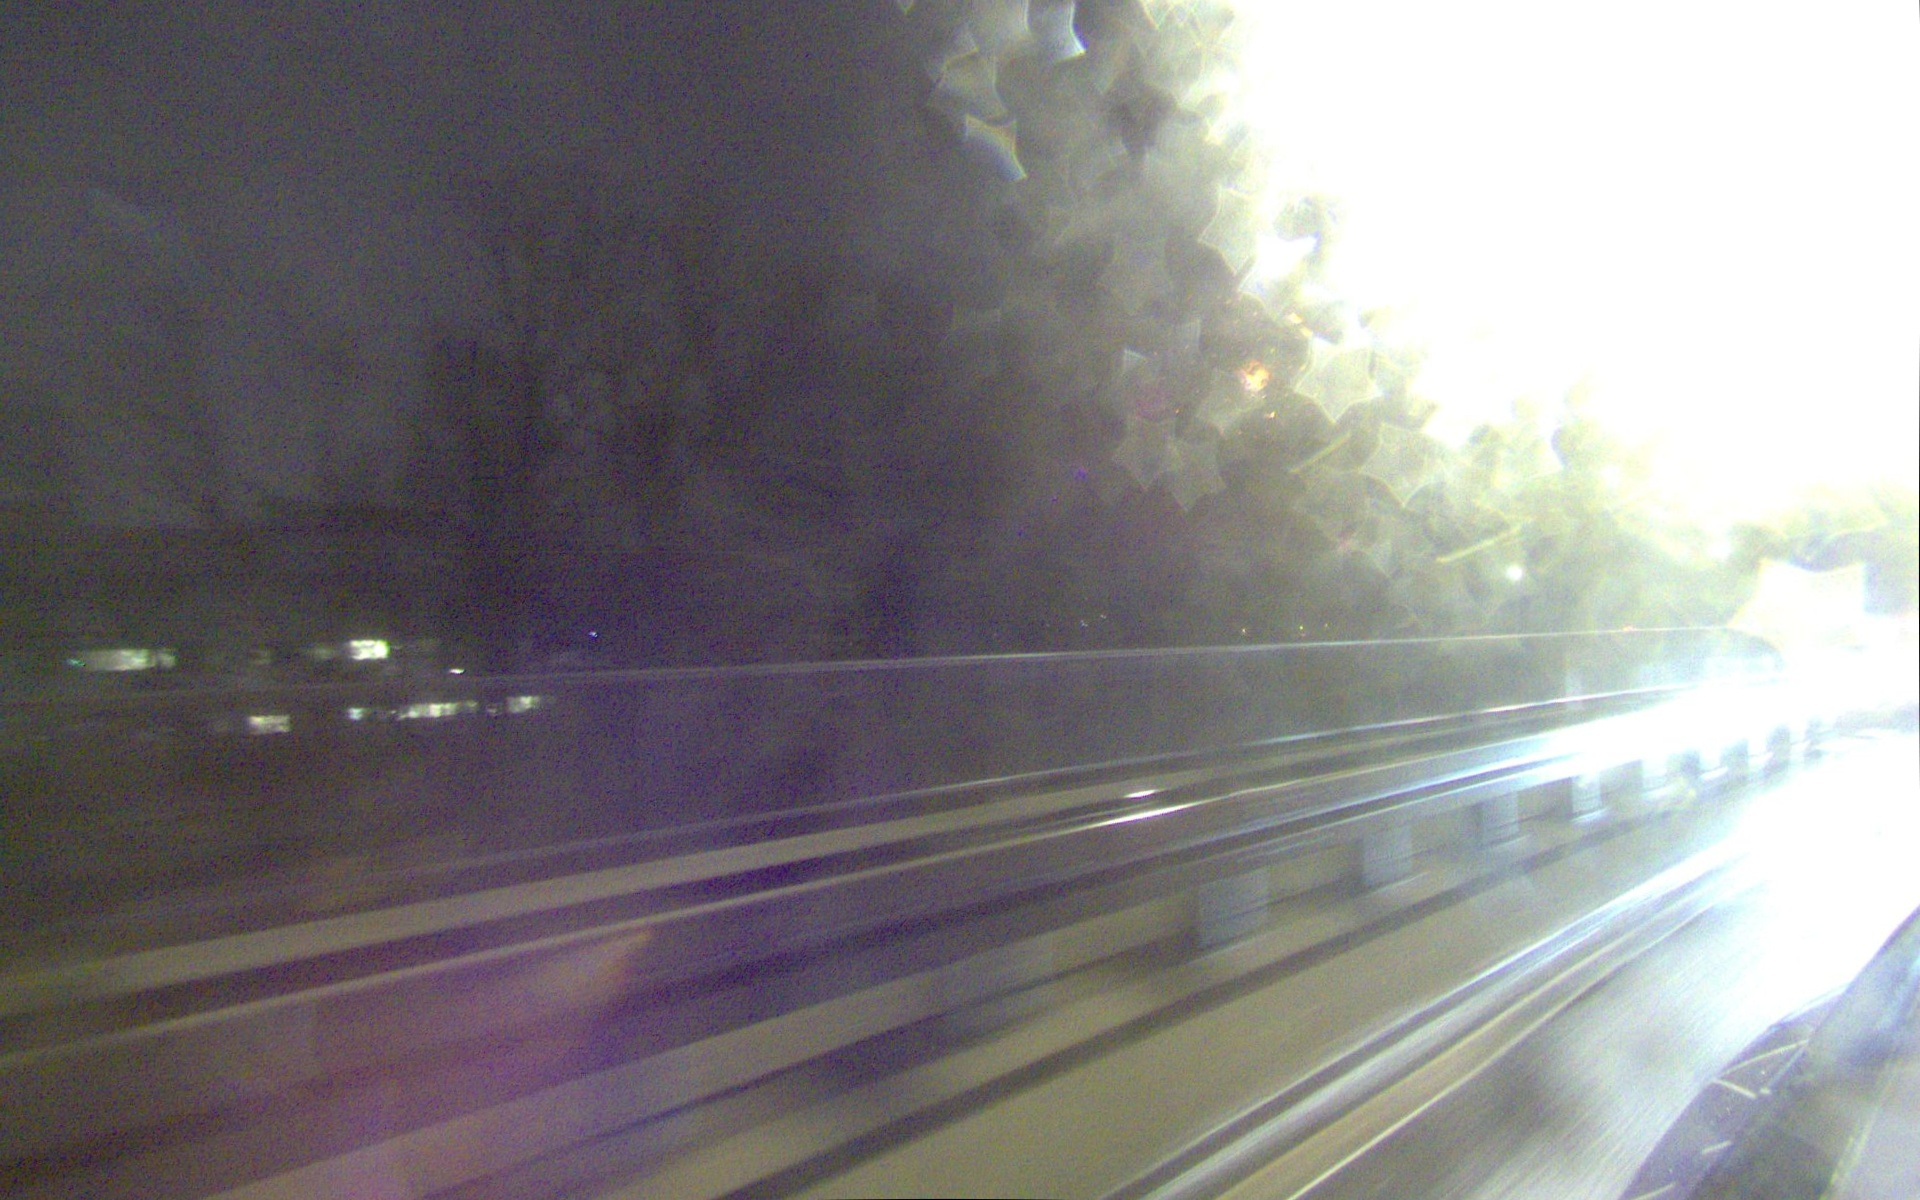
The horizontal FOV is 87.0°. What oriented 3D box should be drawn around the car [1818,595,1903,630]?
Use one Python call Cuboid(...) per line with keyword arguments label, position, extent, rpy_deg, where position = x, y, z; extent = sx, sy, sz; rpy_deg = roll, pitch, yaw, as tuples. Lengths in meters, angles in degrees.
Cuboid(label="car", position=(59.657, 0.857, 67.165), extent=(1.730, 2.040, 3.998), rpy_deg=(-5, -3, -2))
